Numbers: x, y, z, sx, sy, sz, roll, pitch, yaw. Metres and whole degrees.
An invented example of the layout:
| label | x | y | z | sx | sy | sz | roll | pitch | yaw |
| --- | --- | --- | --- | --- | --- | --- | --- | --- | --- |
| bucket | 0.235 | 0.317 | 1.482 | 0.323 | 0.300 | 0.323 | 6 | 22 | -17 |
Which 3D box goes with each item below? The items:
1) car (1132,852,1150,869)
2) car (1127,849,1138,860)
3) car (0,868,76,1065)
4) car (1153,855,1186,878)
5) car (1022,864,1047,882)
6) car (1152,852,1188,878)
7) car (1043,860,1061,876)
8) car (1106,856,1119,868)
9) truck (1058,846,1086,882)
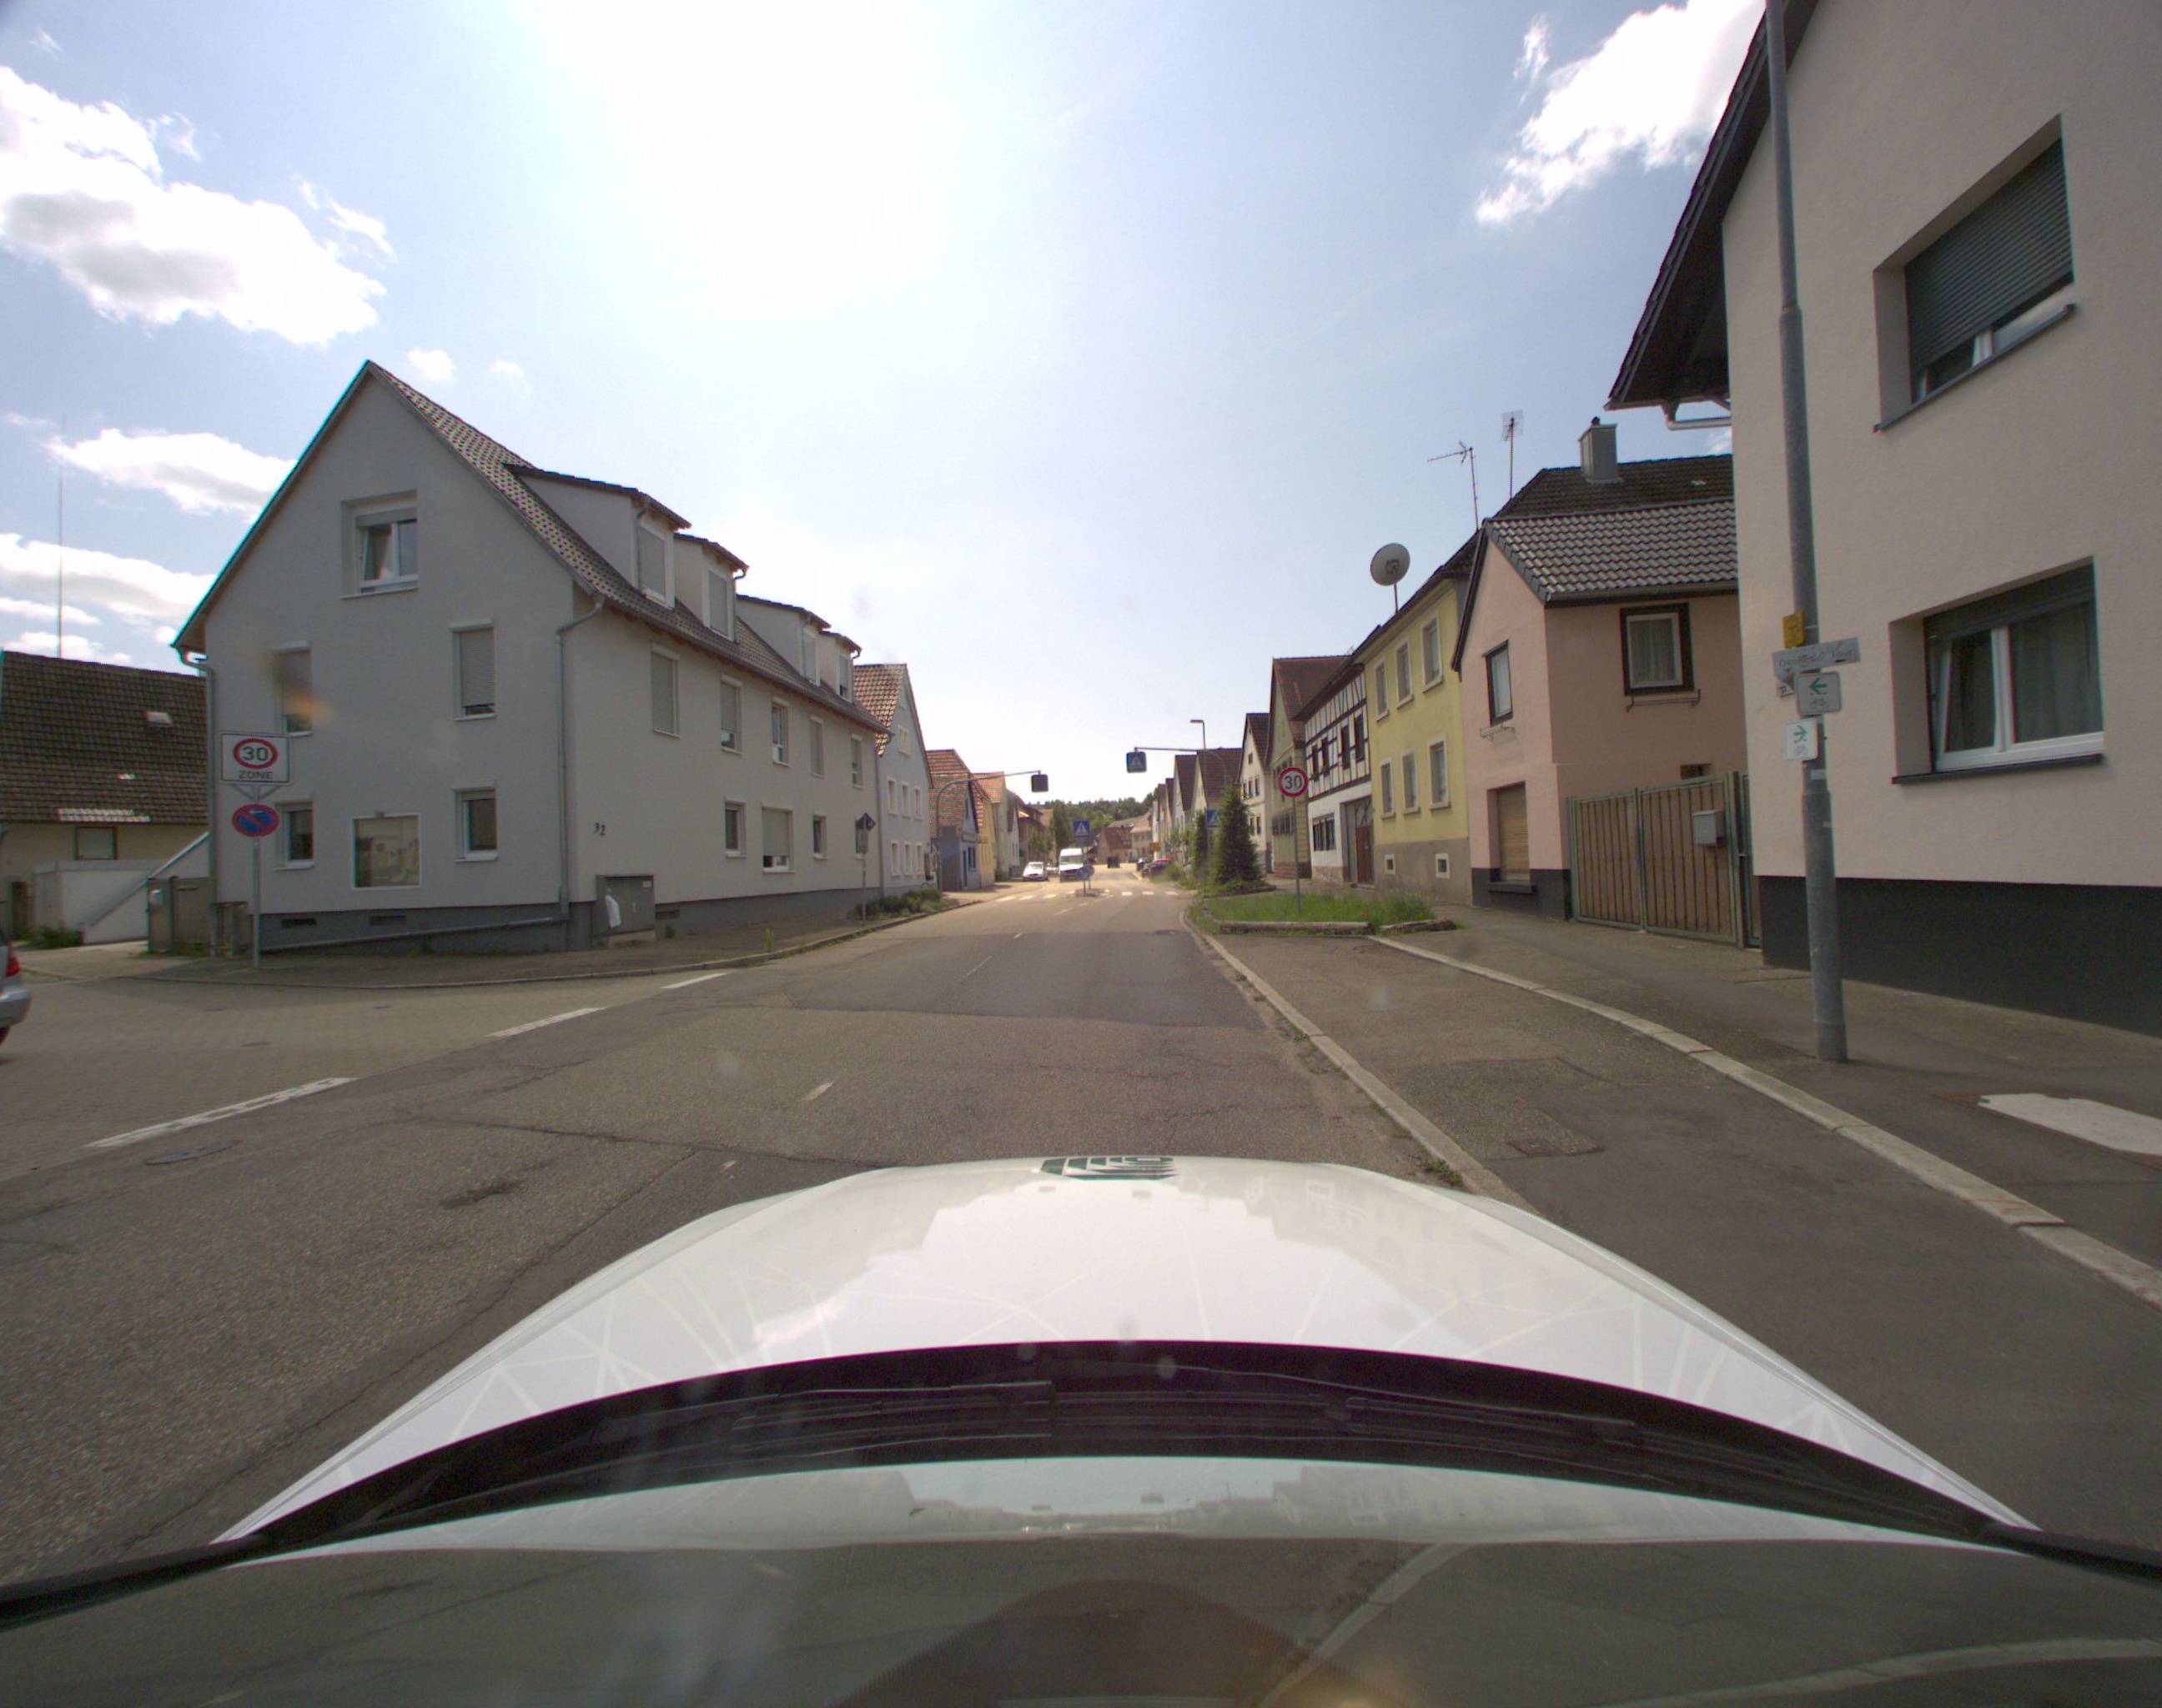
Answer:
| label | x | y | z | sx | sy | sz | roll | pitch | yaw |
| --- | --- | --- | --- | --- | --- | --- | --- | --- | --- |
| car | 7.389 | 0.817 | 100.653 | 1.987 | 1.816 | 3.999 | -1 | -2 | 1 |
| car | 10.080 | 0.099 | 159.544 | 1.986 | 2.014 | 4.000 | -1 | -2 | 2 |
| car | -10.830 | 0.931 | 6.205 | 3.713 | 1.643 | 1.812 | 0 | -1 | -7 |
| car | 6.141 | 0.909 | 57.101 | 1.986 | 1.508 | 4.001 | -1 | -2 | 2 |
| car | -3.887 | 1.603 | 68.010 | 1.989 | 1.321 | 3.703 | -1 | -2 | -4 |
| car | 5.726 | 0.745 | 52.943 | 1.986 | 1.508 | 4.001 | -1 | -2 | 2 |
| car | -3.078 | 1.491 | 88.281 | 1.661 | 1.596 | 4.001 | -1 | -2 | 2 |
| car | 5.203 | 1.367 | 134.353 | 1.987 | 1.816 | 3.999 | -1 | -2 | 1 |
| truck | -0.633 | 0.859 | 64.230 | 1.986 | 2.537 | 6.739 | -1 | -2 | 1 |
